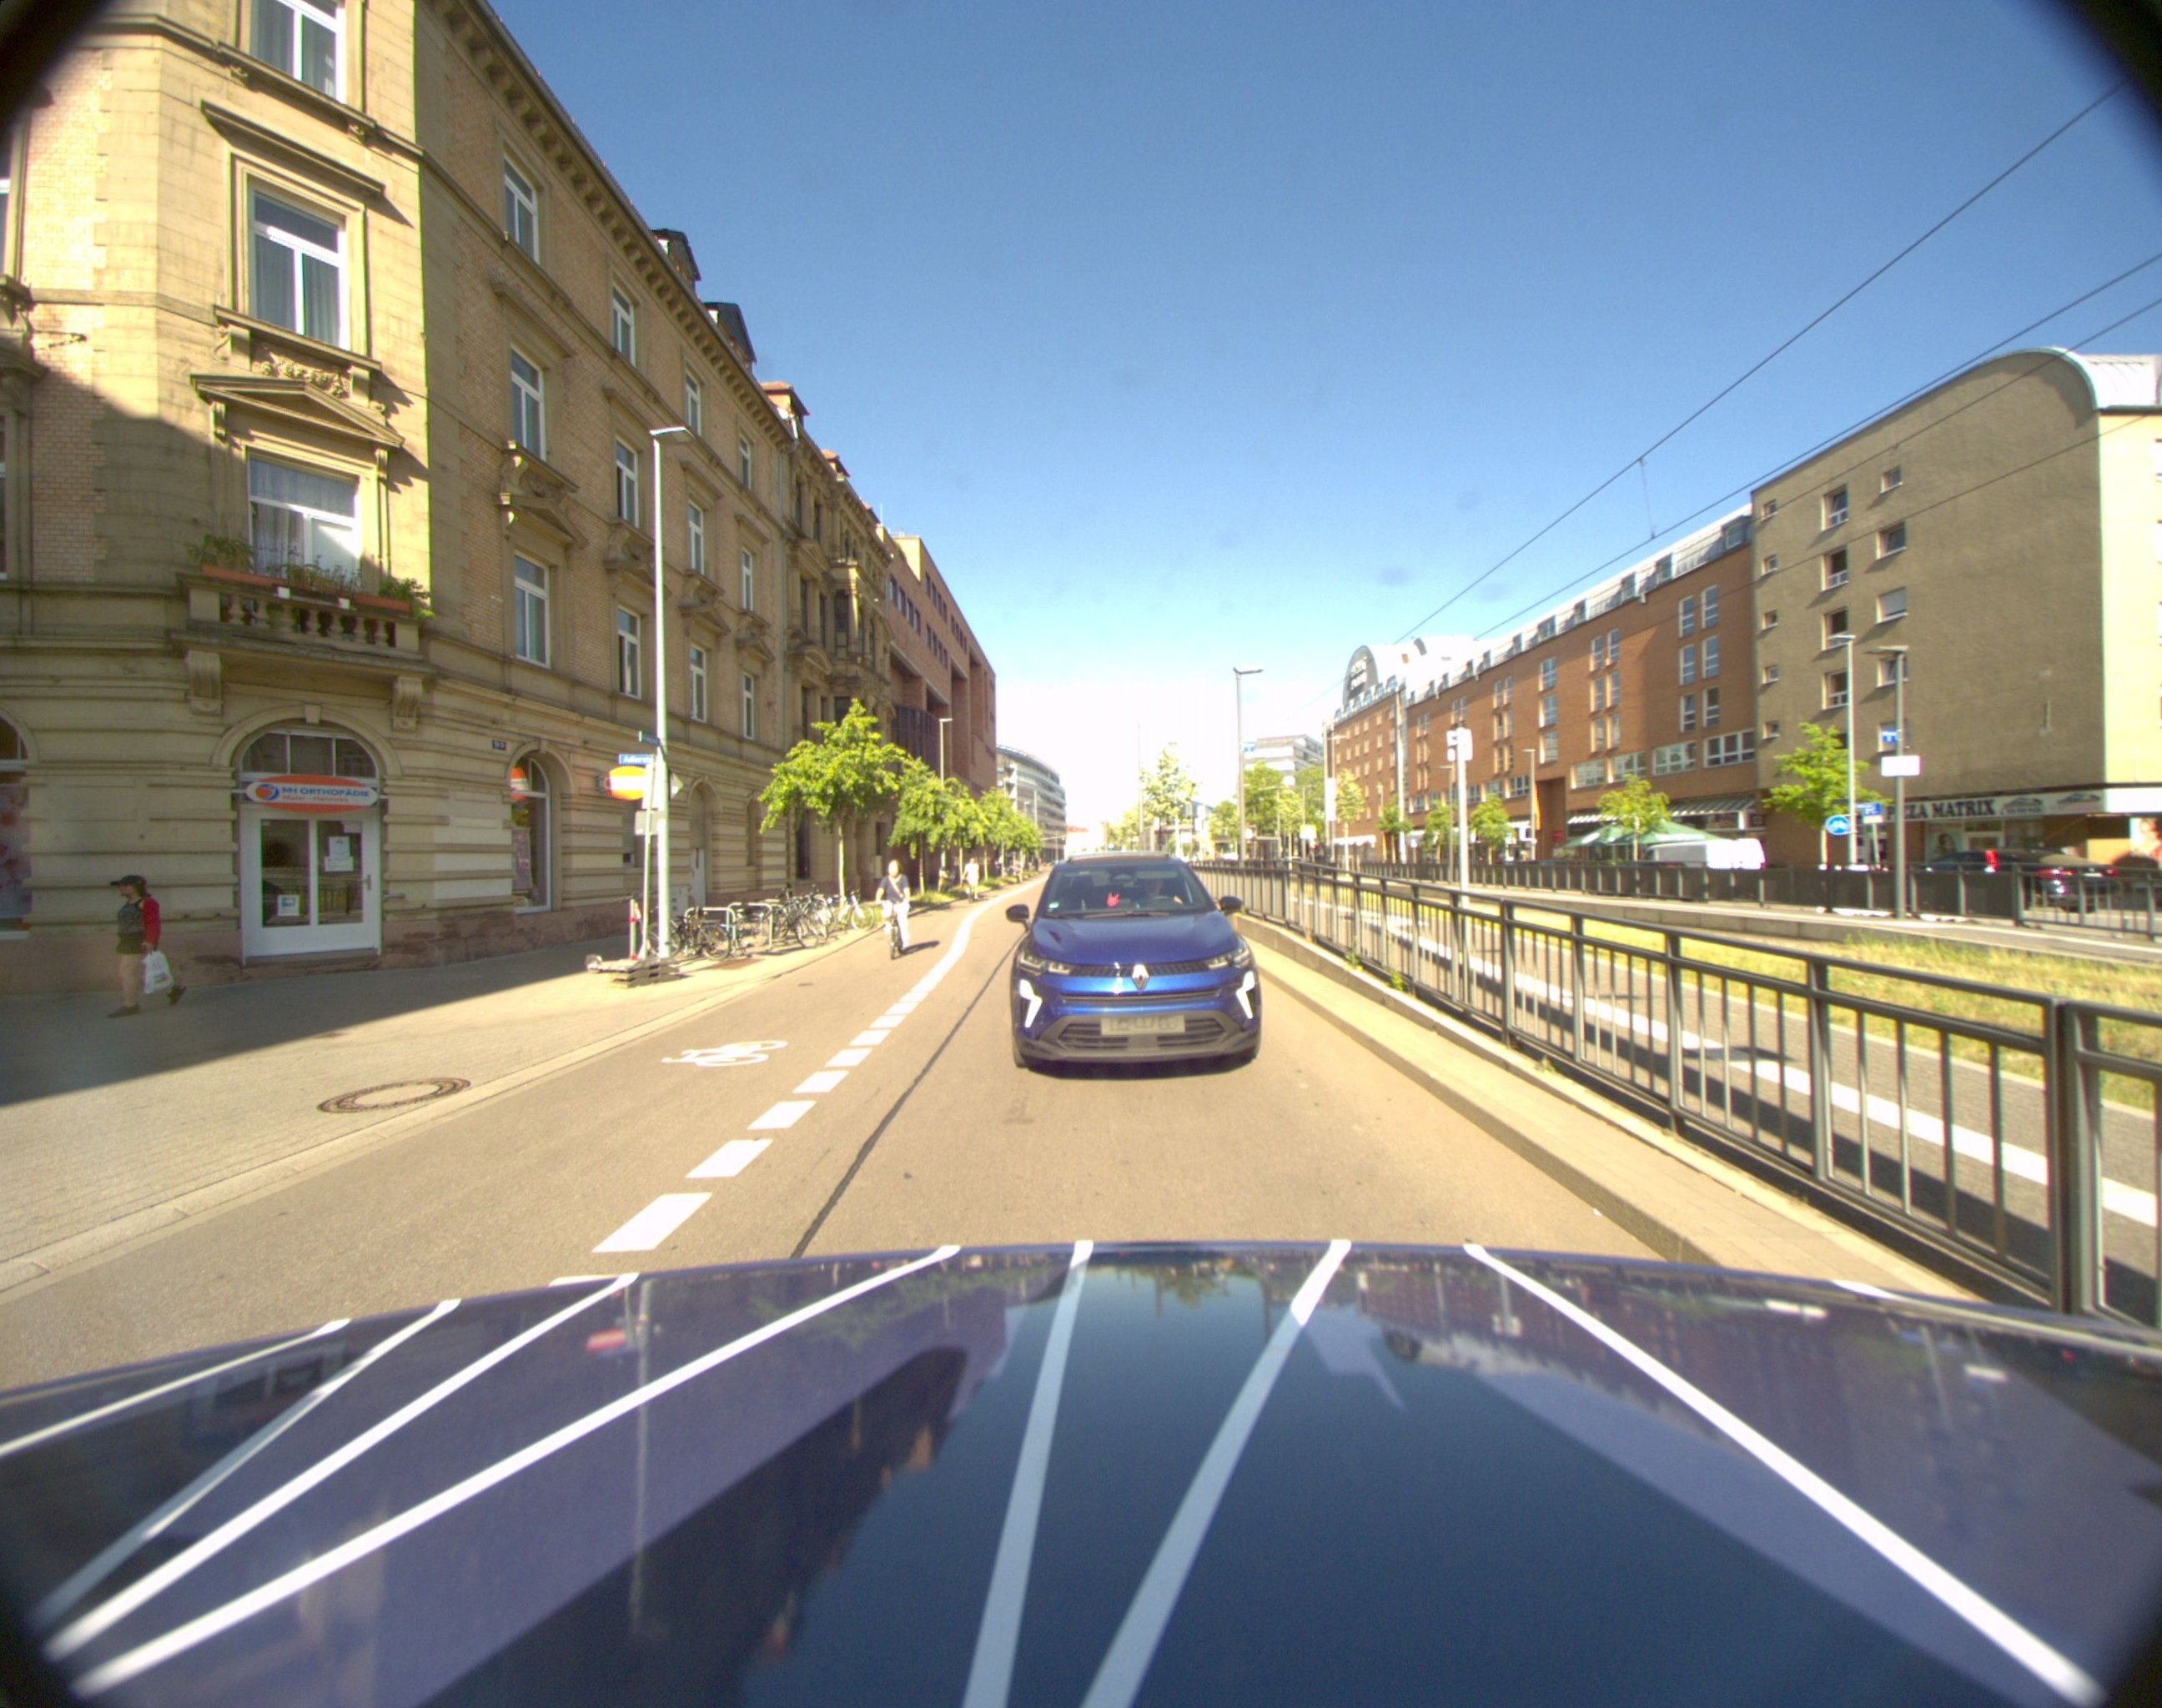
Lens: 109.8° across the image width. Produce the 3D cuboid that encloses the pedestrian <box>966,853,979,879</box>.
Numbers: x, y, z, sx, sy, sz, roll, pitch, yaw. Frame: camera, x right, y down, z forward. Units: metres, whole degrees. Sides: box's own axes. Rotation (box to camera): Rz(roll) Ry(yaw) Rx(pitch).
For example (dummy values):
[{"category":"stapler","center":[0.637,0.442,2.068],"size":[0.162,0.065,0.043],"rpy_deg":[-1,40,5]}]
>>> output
[{"category":"pedestrian","center":[-8.111,0.902,56.670],"size":[0.790,1.872,1.106],"rpy_deg":[-1,1,0]}]

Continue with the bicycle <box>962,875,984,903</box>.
[{"category":"bicycle","center":[-4.509,1.454,31.830],"size":[0.578,1.090,1.507],"rpy_deg":[-3,0,2]}]

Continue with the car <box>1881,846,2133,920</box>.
[{"category":"car","center":[24.244,0.693,20.171],"size":[1.819,1.749,4.000],"rpy_deg":[-1,0,0]}]

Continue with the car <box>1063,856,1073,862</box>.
[{"category":"car","center":[-3.237,1.288,189.594],"size":[1.882,1.455,4.001],"rpy_deg":[-2,1,7]}]

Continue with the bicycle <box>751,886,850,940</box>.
[{"category":"bicycle","center":[-6.449,1.347,17.515],"size":[1.999,1.121,0.710],"rpy_deg":[1,0,2]}]

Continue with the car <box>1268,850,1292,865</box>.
[{"category":"car","center":[24.814,0.426,94.840],"size":[1.998,1.674,3.999],"rpy_deg":[-2,1,1]}]

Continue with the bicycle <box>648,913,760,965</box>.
[{"category":"bicycle","center":[-6.525,1.461,13.172],"size":[1.673,0.816,0.607],"rpy_deg":[0,0,7]}]

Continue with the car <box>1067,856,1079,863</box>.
[{"category":"car","center":[-1.838,1.287,174.029],"size":[2.120,1.547,4.003],"rpy_deg":[-1,0,9]}]

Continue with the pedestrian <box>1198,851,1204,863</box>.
[{"category":"pedestrian","center":[16.623,0.421,105.502],"size":[0.609,1.560,0.910],"rpy_deg":[-3,0,19]}]

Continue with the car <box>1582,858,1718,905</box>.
[{"category":"car","center":[19.787,0.901,26.675],"size":[1.821,1.507,4.000],"rpy_deg":[-1,0,1]}]

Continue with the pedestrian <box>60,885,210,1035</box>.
[{"category":"pedestrian","center":[-10.584,1.132,8.518],"size":[0.709,1.533,0.929],"rpy_deg":[0,1,30]}]

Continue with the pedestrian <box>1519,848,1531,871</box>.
[{"category":"pedestrian","center":[35.081,0.448,60.021],"size":[0.622,1.830,0.645],"rpy_deg":[-1,1,1]}]

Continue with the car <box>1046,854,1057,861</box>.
[{"category":"car","center":[-6.737,0.812,174.200],"size":[1.882,1.455,4.001],"rpy_deg":[-2,1,7]}]

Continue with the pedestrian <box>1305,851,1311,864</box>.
[{"category":"pedestrian","center":[32.465,0.520,108.717],"size":[0.715,1.745,0.781],"rpy_deg":[-1,1,28]}]

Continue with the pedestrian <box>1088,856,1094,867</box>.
[{"category":"pedestrian","center":[1.387,1.005,105.326],"size":[0.774,1.478,0.686],"rpy_deg":[-1,0,1]}]

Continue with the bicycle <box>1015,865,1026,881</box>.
[{"category":"bicycle","center":[-4.543,1.424,57.281],"size":[0.578,1.090,1.507],"rpy_deg":[-3,0,3]}]

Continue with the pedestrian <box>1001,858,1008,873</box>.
[{"category":"pedestrian","center":[-8.044,1.204,79.645],"size":[0.633,1.478,0.736],"rpy_deg":[-1,1,0]}]

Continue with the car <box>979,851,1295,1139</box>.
[{"category":"car","center":[0.362,0.832,6.493],"size":[1.802,1.596,3.999],"rpy_deg":[-2,1,1]}]

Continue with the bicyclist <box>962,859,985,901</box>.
[{"category":"bicyclist","center":[-4.506,1.077,31.845],"size":[0.684,1.718,0.909],"rpy_deg":[-3,0,3]}]

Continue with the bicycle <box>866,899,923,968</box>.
[{"category":"bicycle","center":[-3.229,1.362,13.279],"size":[0.558,1.021,1.507],"rpy_deg":[-3,0,0]}]

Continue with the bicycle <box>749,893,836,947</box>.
[{"category":"bicycle","center":[-6.129,1.394,16.200],"size":[1.603,1.039,0.607],"rpy_deg":[1,0,4]}]

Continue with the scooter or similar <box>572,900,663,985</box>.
[{"category":"scooter or similar","center":[-6.768,1.282,11.098],"size":[1.113,1.183,0.419],"rpy_deg":[0,0,8]}]

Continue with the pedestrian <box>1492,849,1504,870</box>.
[{"category":"pedestrian","center":[35.661,0.456,64.985],"size":[0.622,1.830,0.644],"rpy_deg":[-1,1,-1]}]

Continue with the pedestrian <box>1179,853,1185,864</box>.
[{"category":"pedestrian","center":[13.891,0.595,104.851],"size":[0.608,1.560,0.728],"rpy_deg":[-1,0,21]}]

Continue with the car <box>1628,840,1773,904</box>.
[{"category":"car","center":[25.347,0.669,31.417],"size":[1.997,2.356,5.649],"rpy_deg":[-1,0,8]}]

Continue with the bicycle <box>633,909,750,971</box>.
[{"category":"bicycle","center":[-6.396,1.396,12.504],"size":[1.673,0.938,0.607],"rpy_deg":[0,0,8]}]

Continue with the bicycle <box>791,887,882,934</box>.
[{"category":"bicycle","center":[-6.023,1.388,18.811],"size":[2.001,1.086,0.846],"rpy_deg":[1,0,-9]}]

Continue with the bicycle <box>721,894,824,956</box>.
[{"category":"bicycle","center":[-5.926,1.349,14.641],"size":[1.727,1.094,0.607],"rpy_deg":[1,0,4]}]

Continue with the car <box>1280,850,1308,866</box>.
[{"category":"car","center":[23.920,0.443,85.351],"size":[1.998,1.674,3.999],"rpy_deg":[-2,1,1]}]

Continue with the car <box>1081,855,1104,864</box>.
[{"category":"car","center":[2.087,1.018,138.830],"size":[4.140,1.602,1.786],"rpy_deg":[-1,0,40]}]

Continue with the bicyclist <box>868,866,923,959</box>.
[{"category":"bicyclist","center":[-3.238,0.991,13.313],"size":[0.659,1.528,0.909],"rpy_deg":[-3,0,0]}]

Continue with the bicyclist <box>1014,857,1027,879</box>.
[{"category":"bicyclist","center":[-4.572,1.066,57.333],"size":[0.755,1.607,0.762],"rpy_deg":[-3,0,4]}]

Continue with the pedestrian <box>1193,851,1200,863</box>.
[{"category":"pedestrian","center":[16.269,0.422,107.110],"size":[0.729,1.560,0.608],"rpy_deg":[-2,0,-40]}]
